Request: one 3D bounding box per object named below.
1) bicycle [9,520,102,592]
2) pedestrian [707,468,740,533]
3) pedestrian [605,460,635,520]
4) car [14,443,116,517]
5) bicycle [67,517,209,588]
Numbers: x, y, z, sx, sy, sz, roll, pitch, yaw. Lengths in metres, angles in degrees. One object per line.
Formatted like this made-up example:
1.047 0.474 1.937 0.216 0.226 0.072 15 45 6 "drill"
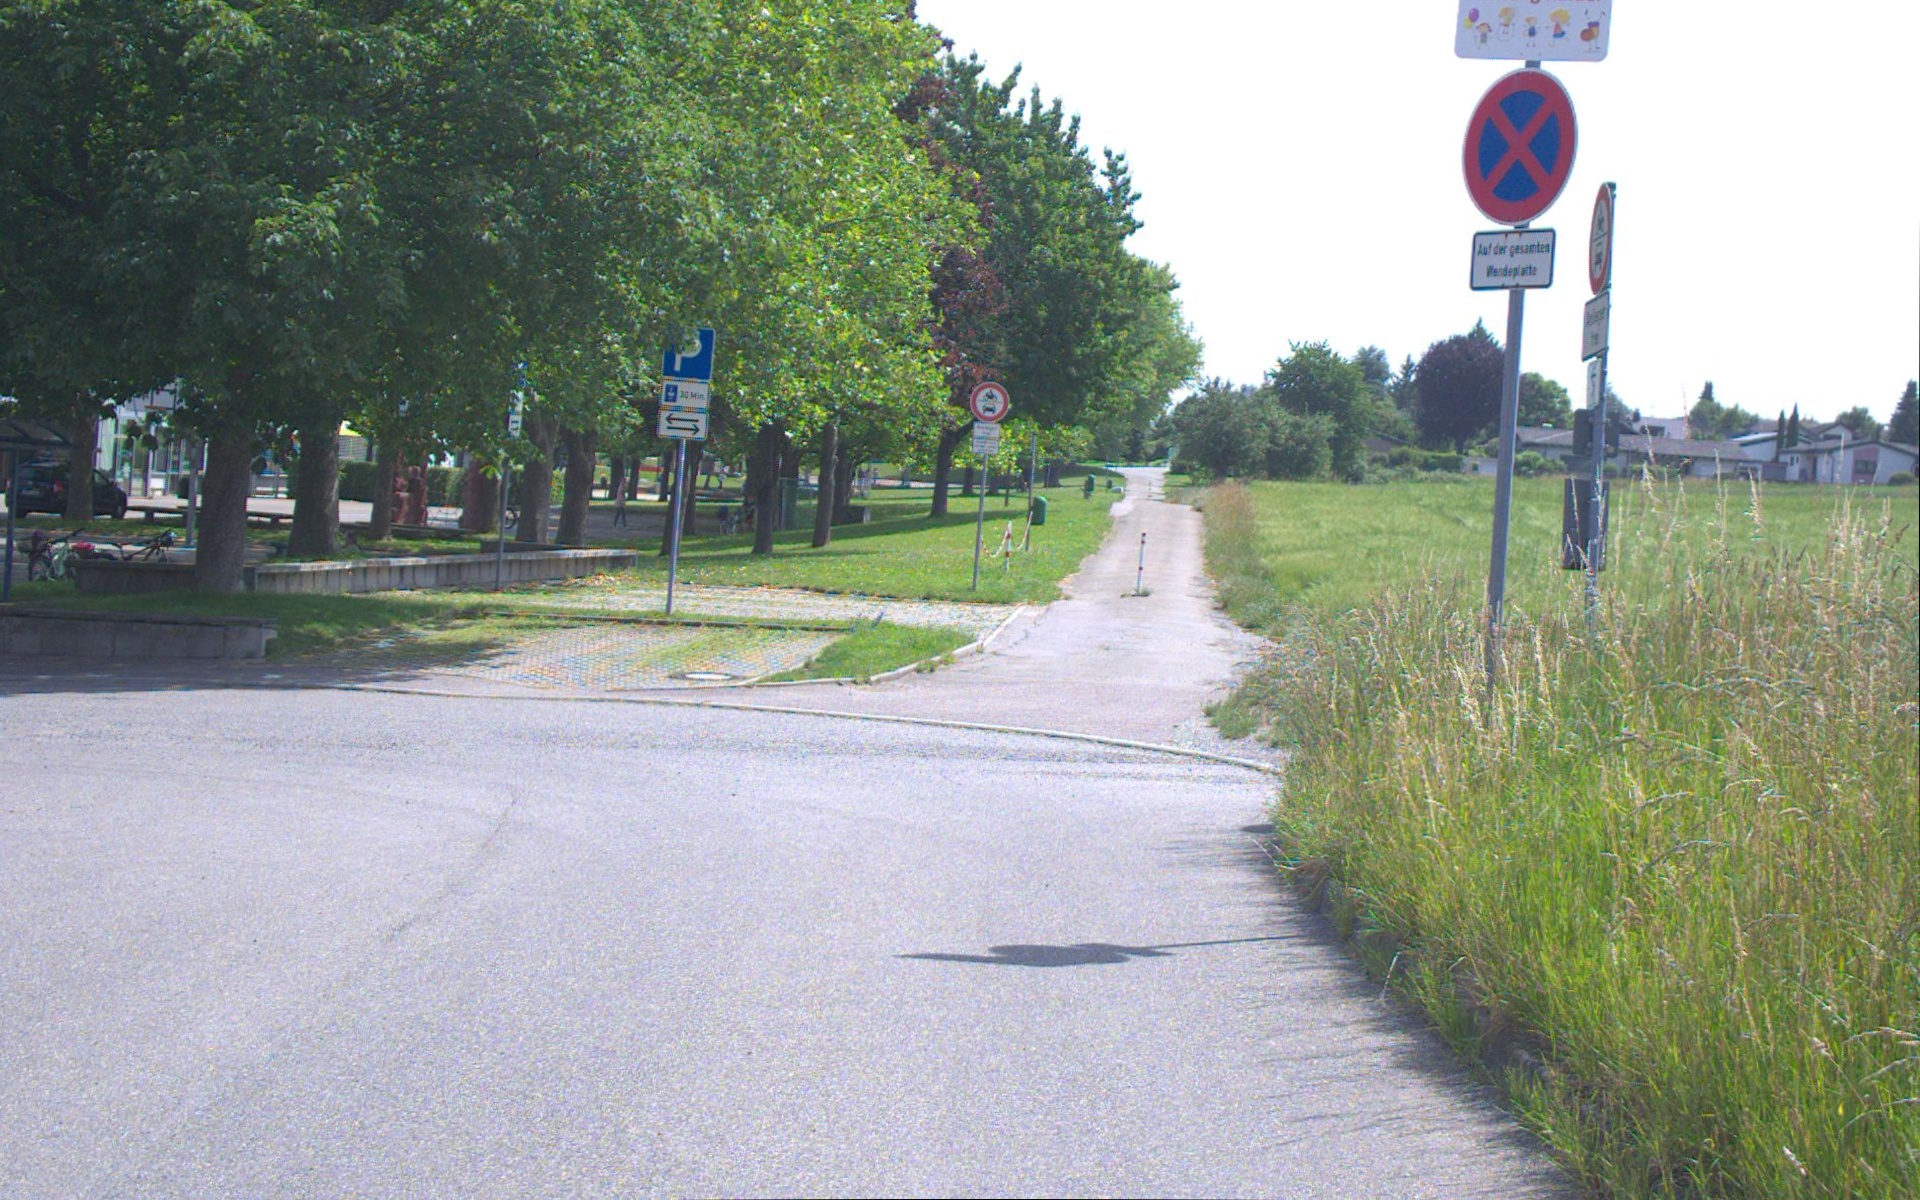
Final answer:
-13.527 -0.664 51.460 0.595 1.035 1.892 2 2 10 "bicycle"
-7.570 -3.189 110.017 0.682 2.006 0.803 2 1 -30 "pedestrian"
-11.749 -3.806 118.723 0.832 2.006 0.692 3 1 -13 "pedestrian"
-23.565 -3.153 90.603 1.691 1.828 3.411 3 2 0 "car"
-12.784 -0.737 53.473 2.062 1.035 0.572 2 2 -5 "bicycle"
